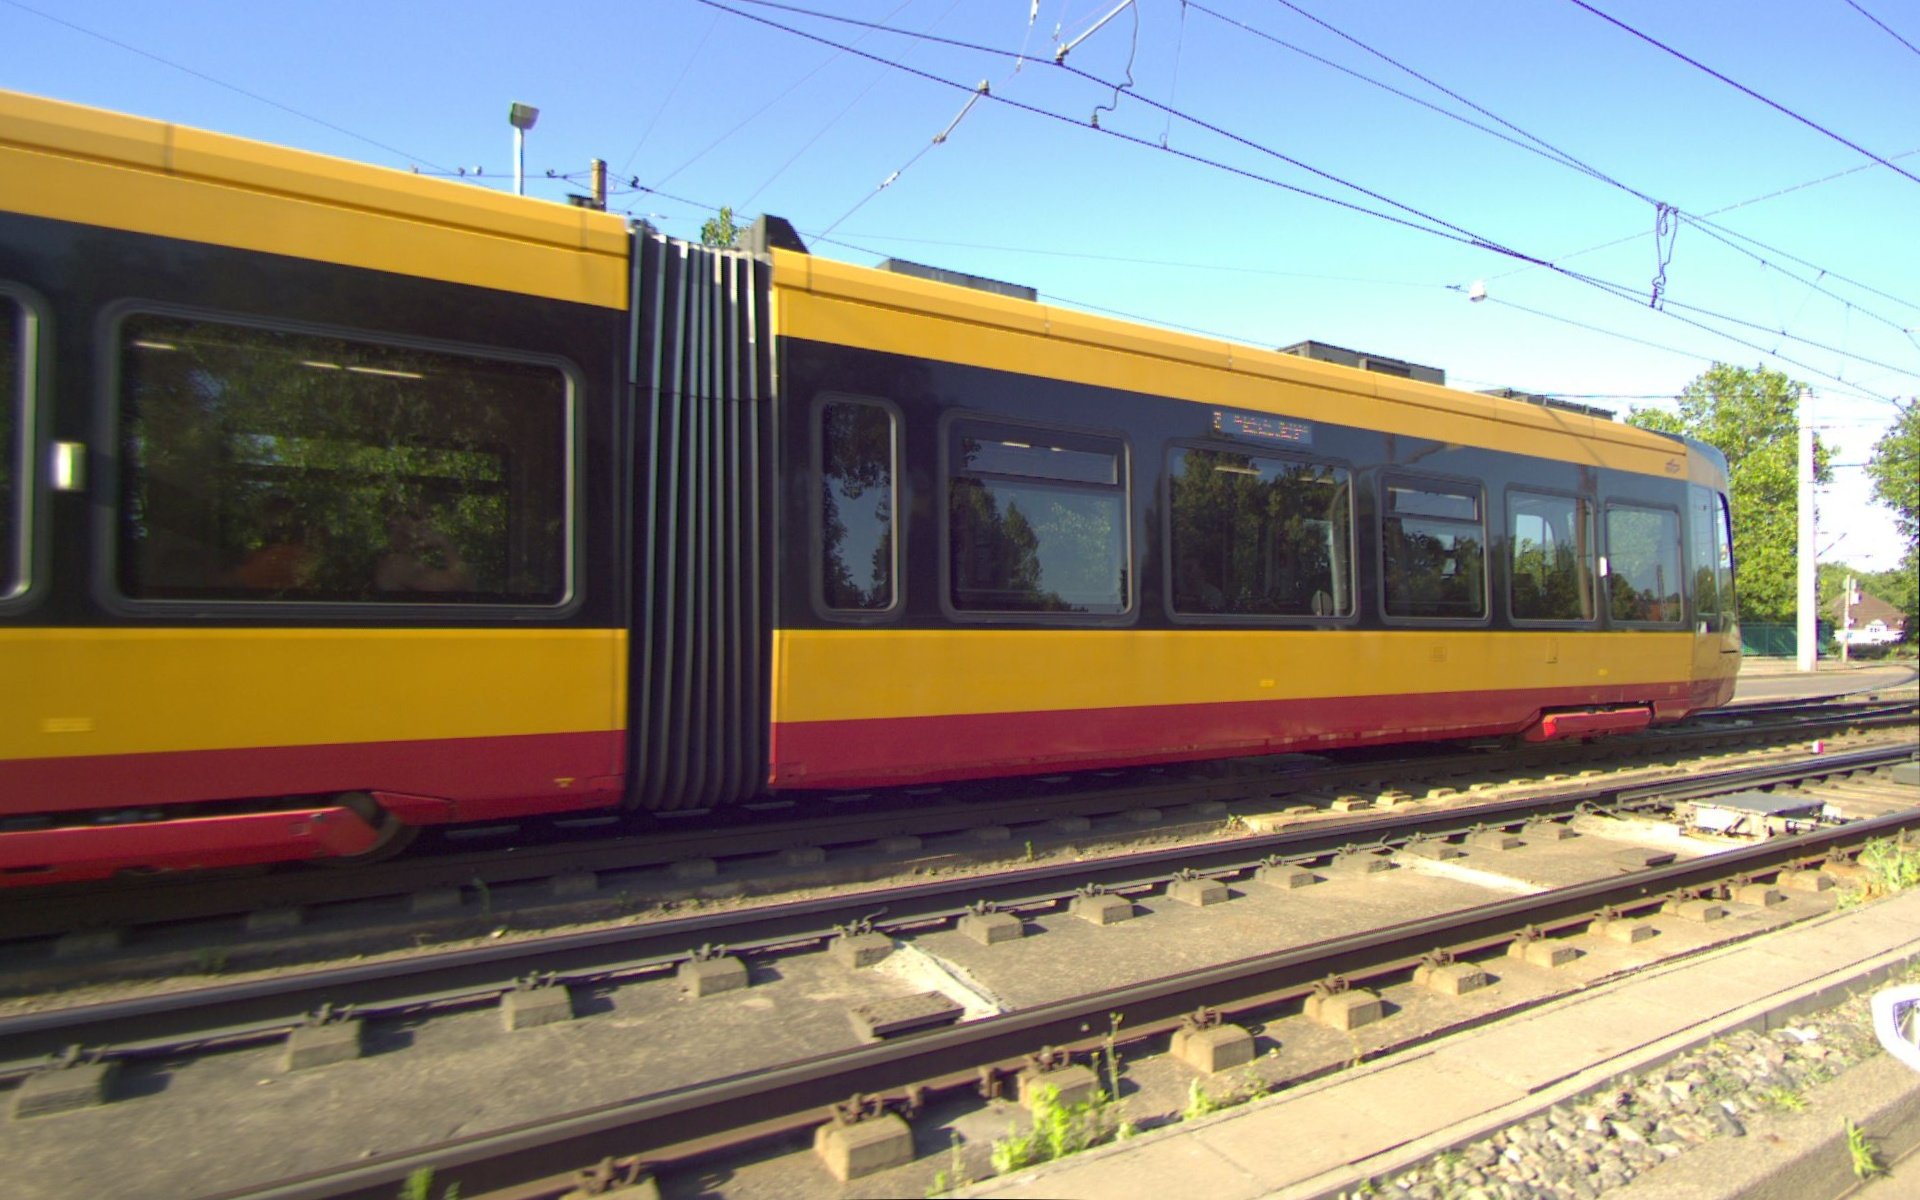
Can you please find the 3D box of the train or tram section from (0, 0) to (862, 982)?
[{"bbox_3d":[-6.259,-0.573,3.924,11.527,3.952,2.962,1,-1,-30],"label":"train or tram section"}]

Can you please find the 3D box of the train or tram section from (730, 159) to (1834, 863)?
[{"bbox_3d":[4.280,-0.386,10.101,12.552,3.952,2.964,1,-1,-30],"label":"train or tram section"}]
